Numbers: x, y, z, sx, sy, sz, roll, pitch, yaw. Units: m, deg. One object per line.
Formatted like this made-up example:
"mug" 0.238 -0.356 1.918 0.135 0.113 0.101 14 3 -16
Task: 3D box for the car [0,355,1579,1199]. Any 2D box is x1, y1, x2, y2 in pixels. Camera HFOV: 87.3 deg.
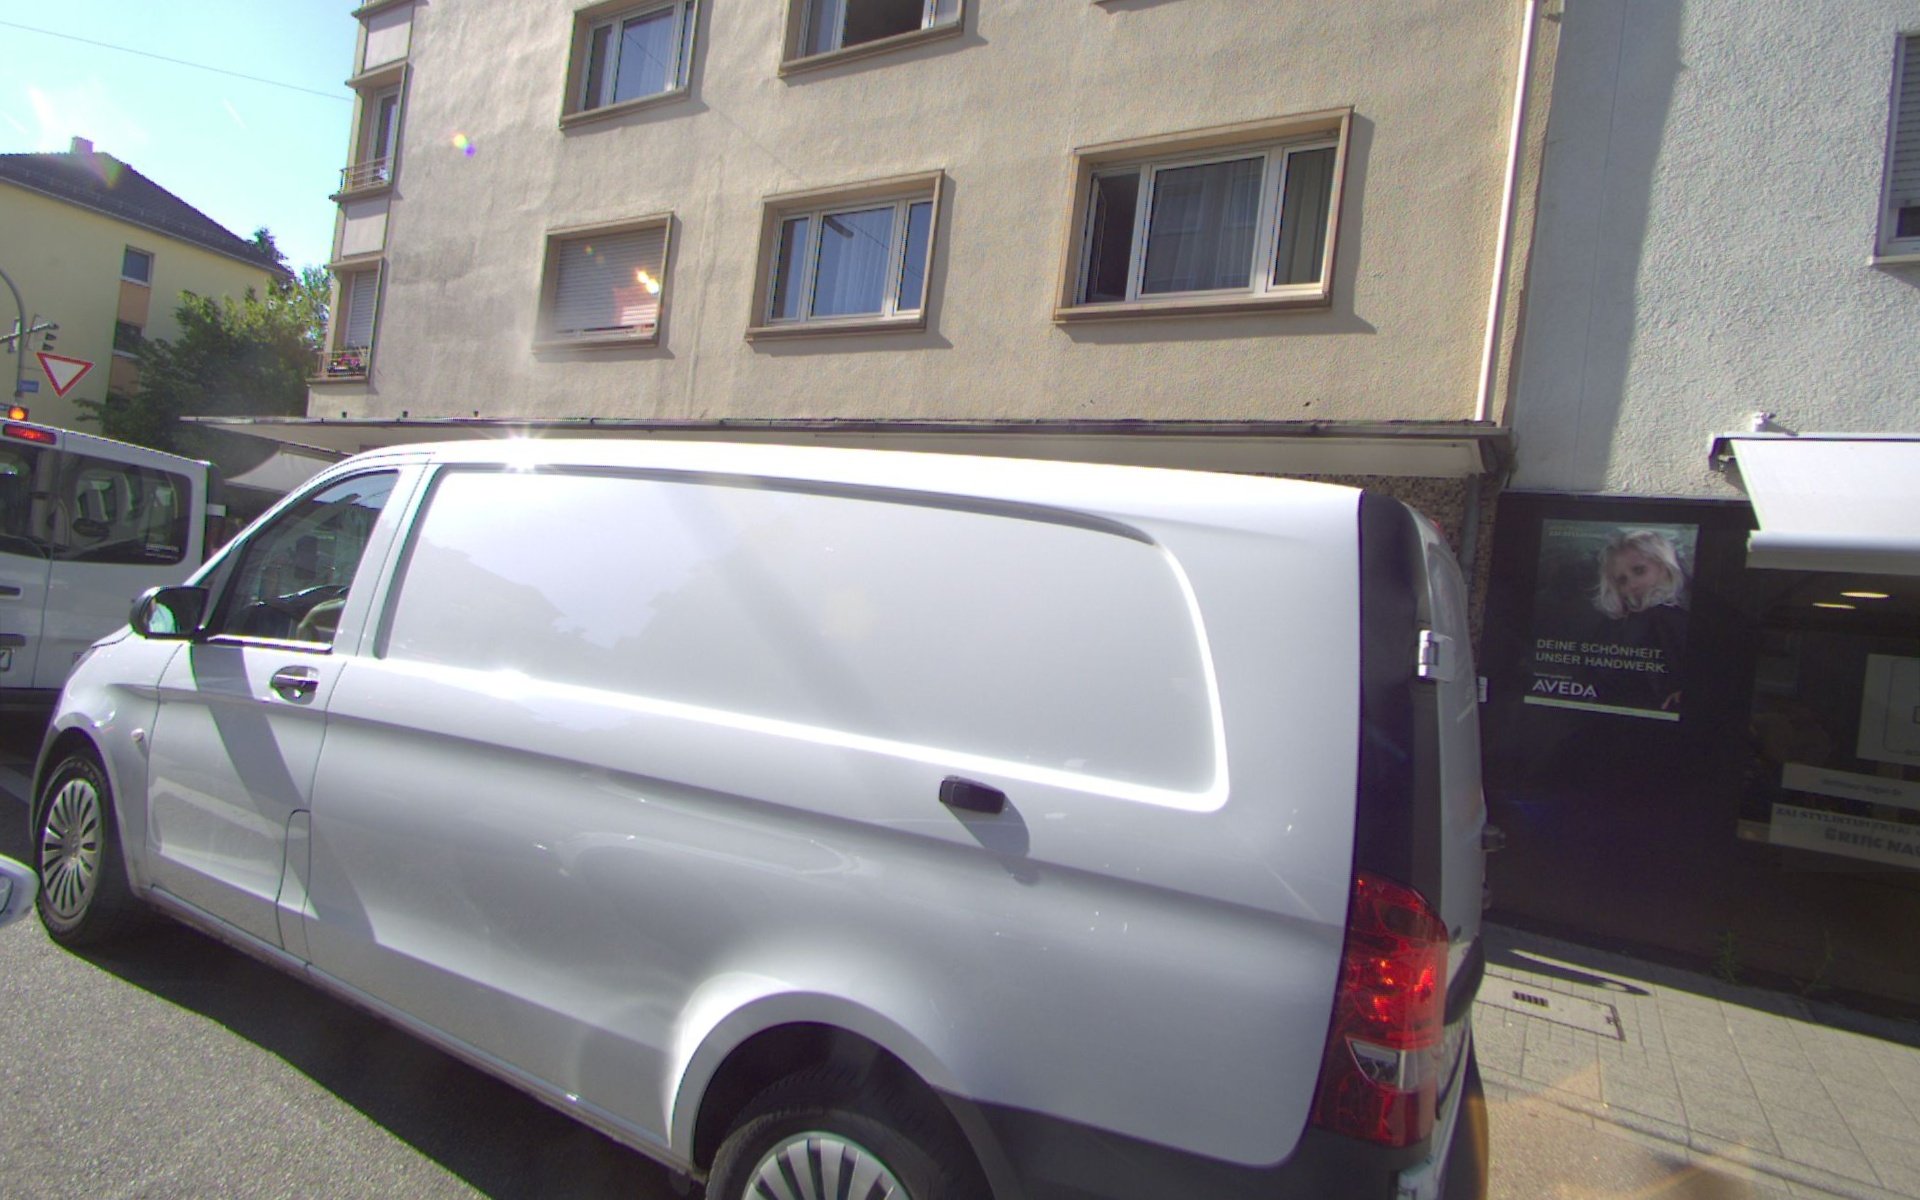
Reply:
"car" -1.001 0.457 3.303 4.911 1.891 1.840 7 -1 30

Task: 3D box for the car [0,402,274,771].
"car" -7.157 -0.271 6.946 4.813 2.001 1.998 7 -2 31
